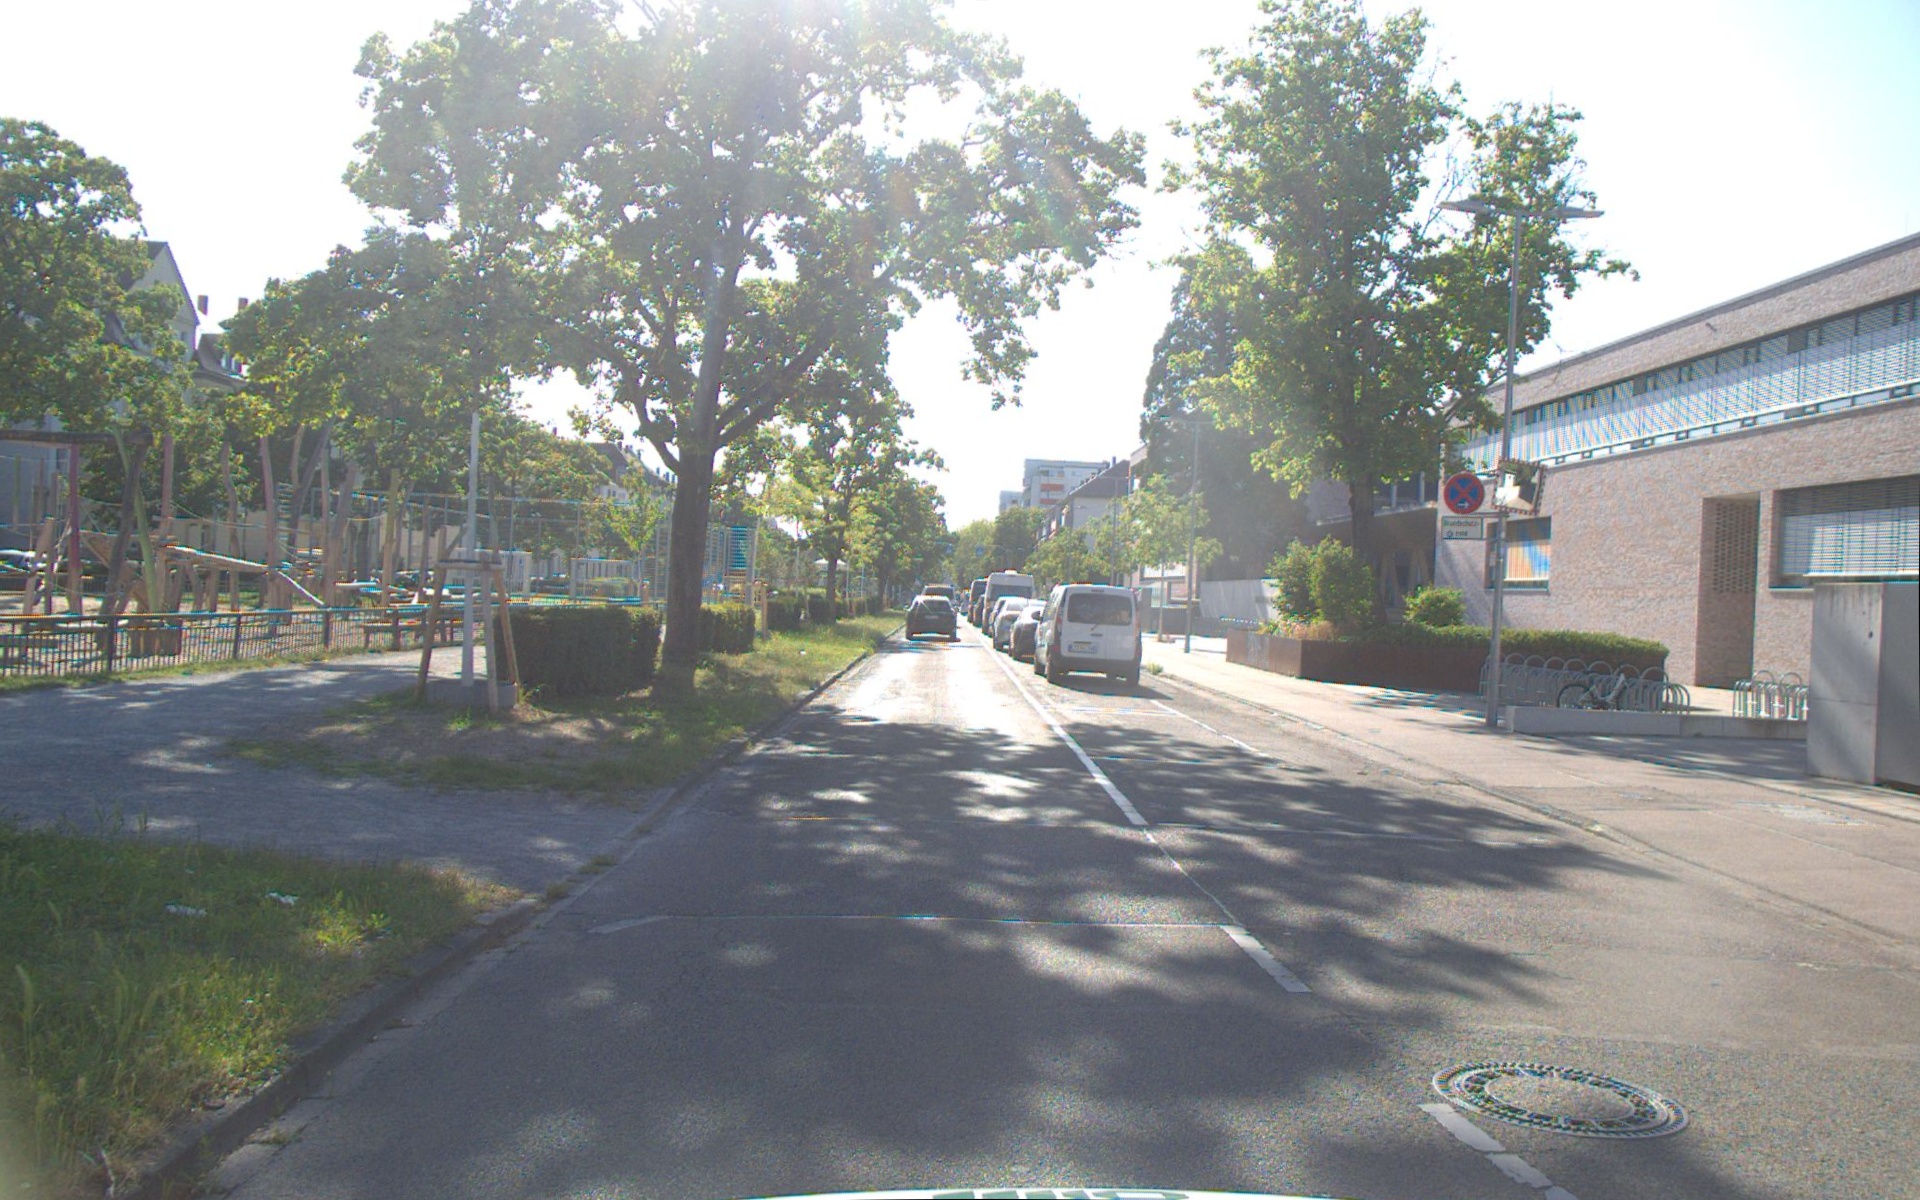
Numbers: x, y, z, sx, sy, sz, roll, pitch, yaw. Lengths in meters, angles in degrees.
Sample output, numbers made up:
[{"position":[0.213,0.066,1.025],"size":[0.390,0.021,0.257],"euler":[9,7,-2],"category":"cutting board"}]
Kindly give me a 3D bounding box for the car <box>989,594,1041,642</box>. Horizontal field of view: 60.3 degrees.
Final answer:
[{"position":[2.006,0.649,61.542],"size":[1.587,1.616,3.590],"euler":[3,0,-3],"category":"car"}]

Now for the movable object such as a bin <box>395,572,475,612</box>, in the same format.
[{"position":[-17.238,-0.263,54.320],"size":[2.285,1.263,1.055],"euler":[2,0,-5],"category":"movable object such as a bin"}]

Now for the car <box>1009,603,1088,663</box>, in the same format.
[{"position":[2.231,0.812,42.494],"size":[1.667,1.348,4.128],"euler":[3,0,-1],"category":"car"}]

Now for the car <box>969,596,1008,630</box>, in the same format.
[{"position":[1.464,0.656,86.625],"size":[1.809,1.669,4.502],"euler":[2,0,-1],"category":"car"}]

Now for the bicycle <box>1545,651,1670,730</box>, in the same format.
[{"position":[9.776,1.360,24.988],"size":[1.635,1.047,0.500],"euler":[4,0,-3],"category":"bicycle"}]

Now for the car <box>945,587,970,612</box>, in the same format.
[{"position":[-0.199,-0.063,132.444],"size":[1.757,1.887,4.414],"euler":[3,0,1],"category":"car"}]

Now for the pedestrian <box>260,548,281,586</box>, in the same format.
[{"position":[-30.797,-1.462,73.874],"size":[0.635,1.690,0.650],"euler":[1,0,-1],"category":"pedestrian"}]

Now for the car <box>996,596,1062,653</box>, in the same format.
[{"position":[1.980,0.686,48.677],"size":[1.667,1.504,4.173],"euler":[3,0,-1],"category":"car"}]

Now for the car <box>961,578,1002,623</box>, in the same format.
[{"position":[1.220,0.032,98.937],"size":[2.073,2.559,6.529],"euler":[2,0,-2],"category":"car"}]

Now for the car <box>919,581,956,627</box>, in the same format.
[{"position":[-1.105,0.187,82.750],"size":[1.758,2.159,4.000],"euler":[2,0,0],"category":"car"}]

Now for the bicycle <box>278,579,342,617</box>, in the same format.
[{"position":[-20.623,-0.071,52.477],"size":[1.758,1.127,0.500],"euler":[3,0,-3],"category":"bicycle"}]

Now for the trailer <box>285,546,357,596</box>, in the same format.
[{"position":[-40.371,-1.798,104.703],"size":[2.296,2.920,5.801],"euler":[3,0,-1],"category":"trailer"}]

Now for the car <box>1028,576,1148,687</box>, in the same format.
[{"position":[2.435,0.562,32.439],"size":[1.772,1.941,4.459],"euler":[3,0,-2],"category":"car"}]

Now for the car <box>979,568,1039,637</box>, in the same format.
[{"position":[1.986,0.100,69.011],"size":[2.195,2.619,5.432],"euler":[3,0,0],"category":"car"}]

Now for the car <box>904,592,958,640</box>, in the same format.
[{"position":[-0.998,0.537,58.151],"size":[1.758,1.536,4.000],"euler":[2,0,0],"category":"car"}]
